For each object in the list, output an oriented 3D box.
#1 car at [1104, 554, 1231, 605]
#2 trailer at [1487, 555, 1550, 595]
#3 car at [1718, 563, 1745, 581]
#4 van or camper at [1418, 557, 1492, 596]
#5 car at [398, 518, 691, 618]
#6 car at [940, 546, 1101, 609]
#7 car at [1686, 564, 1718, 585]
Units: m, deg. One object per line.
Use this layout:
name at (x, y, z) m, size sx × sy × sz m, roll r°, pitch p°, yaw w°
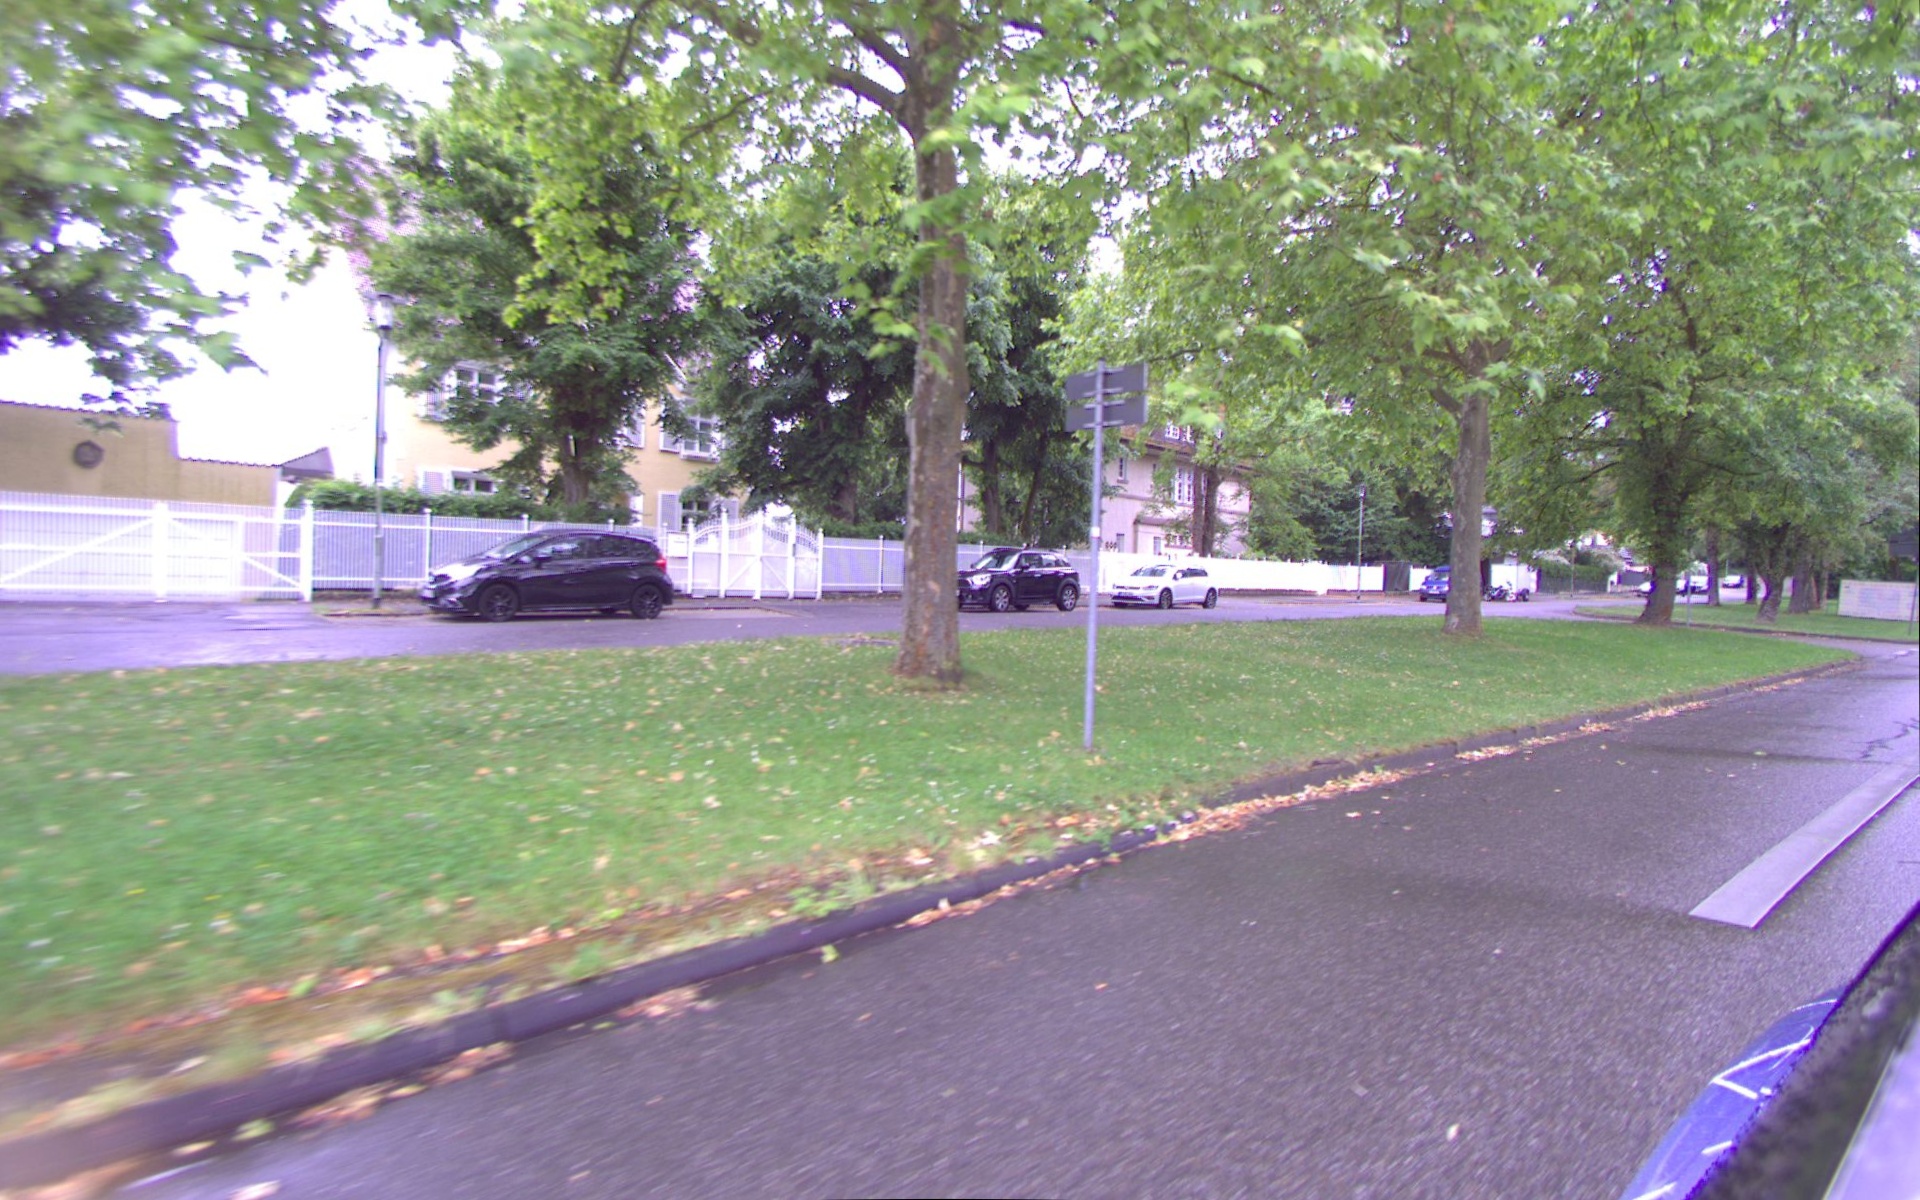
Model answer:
car at (6.471, -0.629, 31.330) m, size 1.994 × 1.467 × 4.059 m, roll 1°, pitch 1°, yaw 44°
trailer at (31.147, -1.378, 56.385) m, size 1.767 × 2.143 × 5.109 m, roll 1°, pitch 1°, yaw 45°
car at (92.176, -3.331, 120.895) m, size 3.935 × 2.038 × 1.996 m, roll -1°, pitch 4°, yaw -45°
van or camper at (24.317, -1.156, 49.643) m, size 1.993 × 1.831 × 4.702 m, roll 1°, pitch 1°, yaw 43°
car at (-6.945, -0.503, 17.254) m, size 1.760 × 1.489 × 4.288 m, roll -1°, pitch 0°, yaw 44°
car at (1.617, -0.568, 25.958) m, size 1.994 × 1.489 × 4.059 m, roll 1°, pitch 1°, yaw 44°
car at (75.975, -2.613, 103.595) m, size 3.935 × 2.038 × 1.996 m, roll -1°, pitch 4°, yaw -45°
